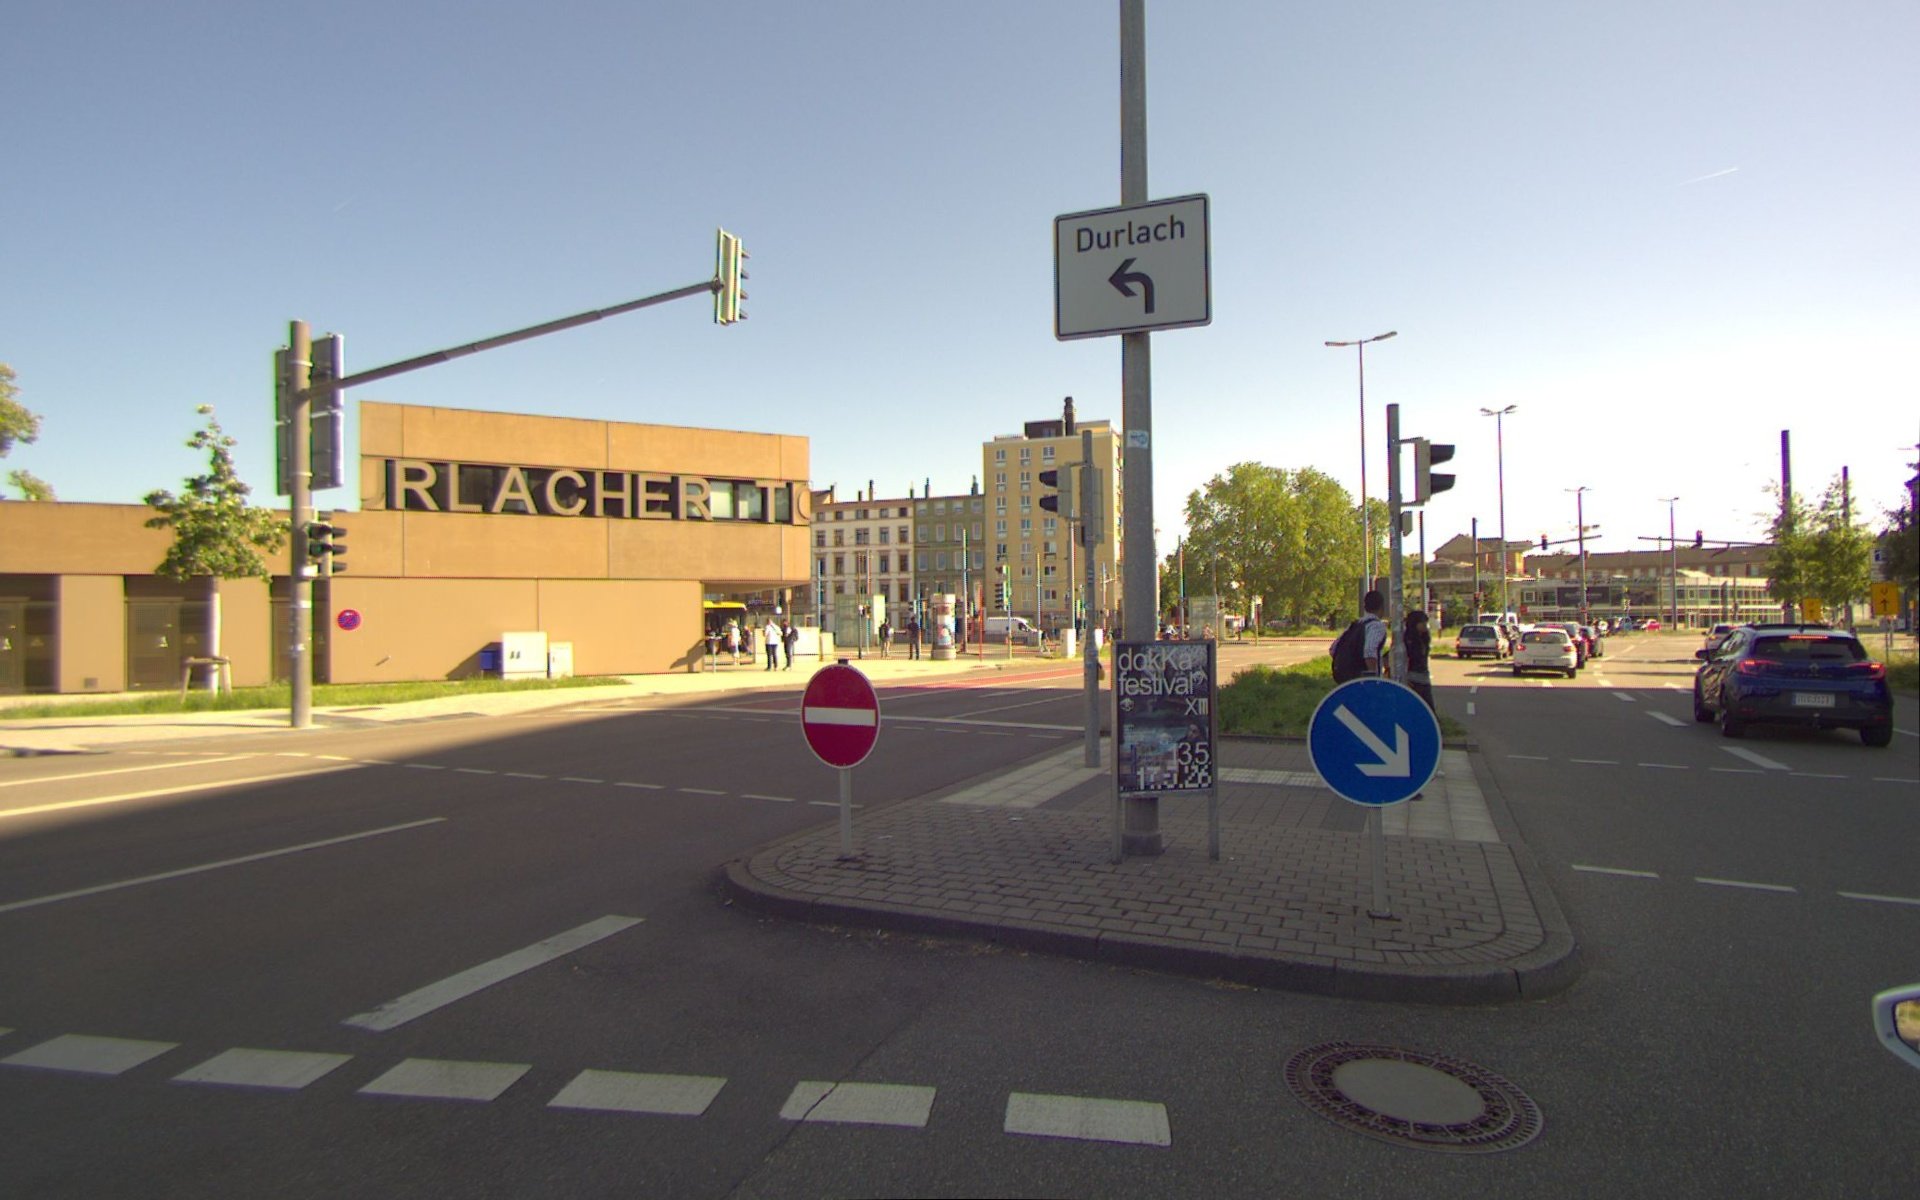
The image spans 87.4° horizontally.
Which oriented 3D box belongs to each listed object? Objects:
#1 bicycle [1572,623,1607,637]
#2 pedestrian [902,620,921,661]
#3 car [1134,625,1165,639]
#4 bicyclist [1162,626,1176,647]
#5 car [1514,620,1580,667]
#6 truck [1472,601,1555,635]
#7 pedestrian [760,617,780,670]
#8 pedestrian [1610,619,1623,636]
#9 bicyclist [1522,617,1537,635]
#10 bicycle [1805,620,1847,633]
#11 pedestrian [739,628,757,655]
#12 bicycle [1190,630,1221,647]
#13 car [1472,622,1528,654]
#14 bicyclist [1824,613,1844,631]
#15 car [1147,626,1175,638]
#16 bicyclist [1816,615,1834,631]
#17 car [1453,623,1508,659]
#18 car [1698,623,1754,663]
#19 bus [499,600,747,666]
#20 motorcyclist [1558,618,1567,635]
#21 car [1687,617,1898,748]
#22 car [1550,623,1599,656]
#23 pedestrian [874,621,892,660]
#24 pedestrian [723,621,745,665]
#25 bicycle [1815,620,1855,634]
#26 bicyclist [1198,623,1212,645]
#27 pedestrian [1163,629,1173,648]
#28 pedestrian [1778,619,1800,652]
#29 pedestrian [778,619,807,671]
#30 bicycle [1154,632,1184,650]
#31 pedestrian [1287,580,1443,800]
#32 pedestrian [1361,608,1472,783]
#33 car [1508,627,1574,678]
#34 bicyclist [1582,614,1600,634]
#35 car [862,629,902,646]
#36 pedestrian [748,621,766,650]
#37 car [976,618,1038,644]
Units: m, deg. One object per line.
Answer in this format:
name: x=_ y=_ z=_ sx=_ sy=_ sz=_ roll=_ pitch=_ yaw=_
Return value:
bicycle: x=58.270 y=2.800 z=93.041 sx=2.601 sy=1.204 sz=0.948 roll=-1 pitch=1 yaw=11
pedestrian: x=-2.124 y=1.784 z=44.106 sx=0.636 sy=1.765 sz=0.788 roll=2 pitch=-1 yaw=-14
car: x=21.690 y=3.667 z=115.018 sx=3.374 sy=1.530 sz=1.694 roll=-1 pitch=-1 yaw=16
bicyclist: x=14.494 y=2.504 z=69.739 sx=0.763 sy=1.463 sz=0.641 roll=-1 pitch=-1 yaw=33
car: x=21.819 y=1.598 z=37.324 sx=1.955 sy=1.645 sz=4.369 roll=-2 pitch=-2 yaw=31
truck: x=39.793 y=1.304 z=72.159 sx=6.806 sy=2.344 sz=2.203 roll=1 pitch=-2 yaw=-32
pedestrian: x=-6.364 y=1.450 z=33.649 sx=0.586 sy=1.745 sz=0.788 roll=2 pitch=-3 yaw=-14
pedestrian: x=62.865 y=2.635 z=96.187 sx=0.840 sy=1.632 sz=0.700 roll=-2 pitch=1 yaw=-23
bicyclist: x=53.993 y=2.453 z=95.185 sx=1.045 sy=1.605 sz=0.947 roll=-1 pitch=1 yaw=18
bicycle: x=76.245 y=2.338 z=88.444 sx=2.605 sy=1.109 sz=0.967 roll=-1 pitch=-2 yaw=31
pedestrian: x=-11.251 y=2.200 z=53.244 sx=0.784 sy=1.412 sz=0.640 roll=0 pitch=-1 yaw=2
bicycle: x=16.514 y=2.589 z=67.601 sx=1.924 sy=1.180 sz=0.641 roll=-1 pitch=-1 yaw=34
car: x=26.379 y=1.809 z=49.026 sx=1.704 sy=1.462 sz=3.892 roll=1 pitch=0 yaw=39
bicyclist: x=80.128 y=2.047 z=92.093 sx=1.045 sy=1.605 sz=0.947 roll=-1 pitch=1 yaw=18
car: x=23.806 y=3.743 z=118.874 sx=3.207 sy=1.334 sz=1.526 roll=-1 pitch=1 yaw=15
bicyclist: x=76.192 y=2.034 z=88.480 sx=0.948 sy=1.468 sz=0.967 roll=-1 pitch=-1 yaw=30
car: x=22.463 y=1.751 z=43.290 sx=1.702 sy=1.461 sz=3.787 roll=-1 pitch=-2 yaw=34
car: x=33.308 y=1.836 z=43.698 sx=1.853 sy=1.639 sz=3.611 roll=0 pitch=-1 yaw=38
bus: x=-17.975 y=1.660 z=54.154 sx=12.426 sy=3.258 sz=2.954 roll=0 pitch=-1 yaw=-27
motorcyclist: x=59.981 y=2.661 z=100.070 sx=0.738 sy=1.642 sz=0.545 roll=1 pitch=-1 yaw=-40
car: x=12.116 y=1.122 z=14.889 sx=1.850 sy=1.639 sz=3.790 roll=0 pitch=-2 yaw=31
car: x=29.008 y=1.832 z=47.384 sx=1.702 sy=1.462 sz=3.785 roll=1 pitch=0 yaw=36
pedestrian: x=-3.466 y=1.817 z=45.348 sx=0.636 sy=1.745 sz=0.788 roll=2 pitch=-3 yaw=-14
pedestrian: x=-9.168 y=1.762 z=40.743 sx=0.639 sy=1.745 sz=0.785 roll=2 pitch=-3 yaw=-26
bicycle: x=80.190 y=2.498 z=92.093 sx=2.602 sy=1.204 sz=0.947 roll=-1 pitch=1 yaw=18
bicyclist: x=16.507 y=2.265 z=67.598 sx=0.764 sy=1.463 sz=0.641 roll=-1 pitch=-1 yaw=34
pedestrian: x=15.570 y=2.876 z=75.233 sx=0.583 sy=1.427 sz=0.569 roll=-1 pitch=1 yaw=2
pedestrian: x=44.221 y=1.891 z=53.569 sx=0.860 sy=1.745 sz=0.592 roll=2 pitch=-3 yaw=-29
pedestrian: x=-5.763 y=1.549 z=34.566 sx=0.633 sy=1.745 sz=0.746 roll=-1 pitch=-3 yaw=36
bicycle: x=14.519 y=2.845 z=69.720 sx=1.924 sy=1.180 sz=0.641 roll=-1 pitch=-1 yaw=34
pedestrian: x=3.561 y=0.775 z=8.901 sx=1.074 sy=1.857 sz=0.756 roll=0 pitch=-1 yaw=0
pedestrian: x=4.457 y=0.904 z=9.838 sx=0.708 sy=1.633 sz=0.679 roll=0 pitch=-1 yaw=-21
car: x=17.966 y=1.569 z=31.101 sx=1.666 sy=1.455 sz=3.730 roll=-1 pitch=-2 yaw=30
bicyclist: x=58.419 y=2.263 z=93.013 sx=1.163 sy=1.800 sz=0.948 roll=-1 pitch=1 yaw=11
car: x=-8.522 y=4.076 z=109.828 sx=3.921 sy=1.795 sz=2.000 roll=-1 pitch=1 yaw=20
pedestrian: x=-11.104 y=1.914 z=54.860 sx=0.634 sy=1.555 sz=0.954 roll=1 pitch=-1 yaw=-35
car: x=4.381 y=2.895 z=93.800 sx=5.395 sy=2.443 sz=2.000 roll=-1 pitch=-1 yaw=18
